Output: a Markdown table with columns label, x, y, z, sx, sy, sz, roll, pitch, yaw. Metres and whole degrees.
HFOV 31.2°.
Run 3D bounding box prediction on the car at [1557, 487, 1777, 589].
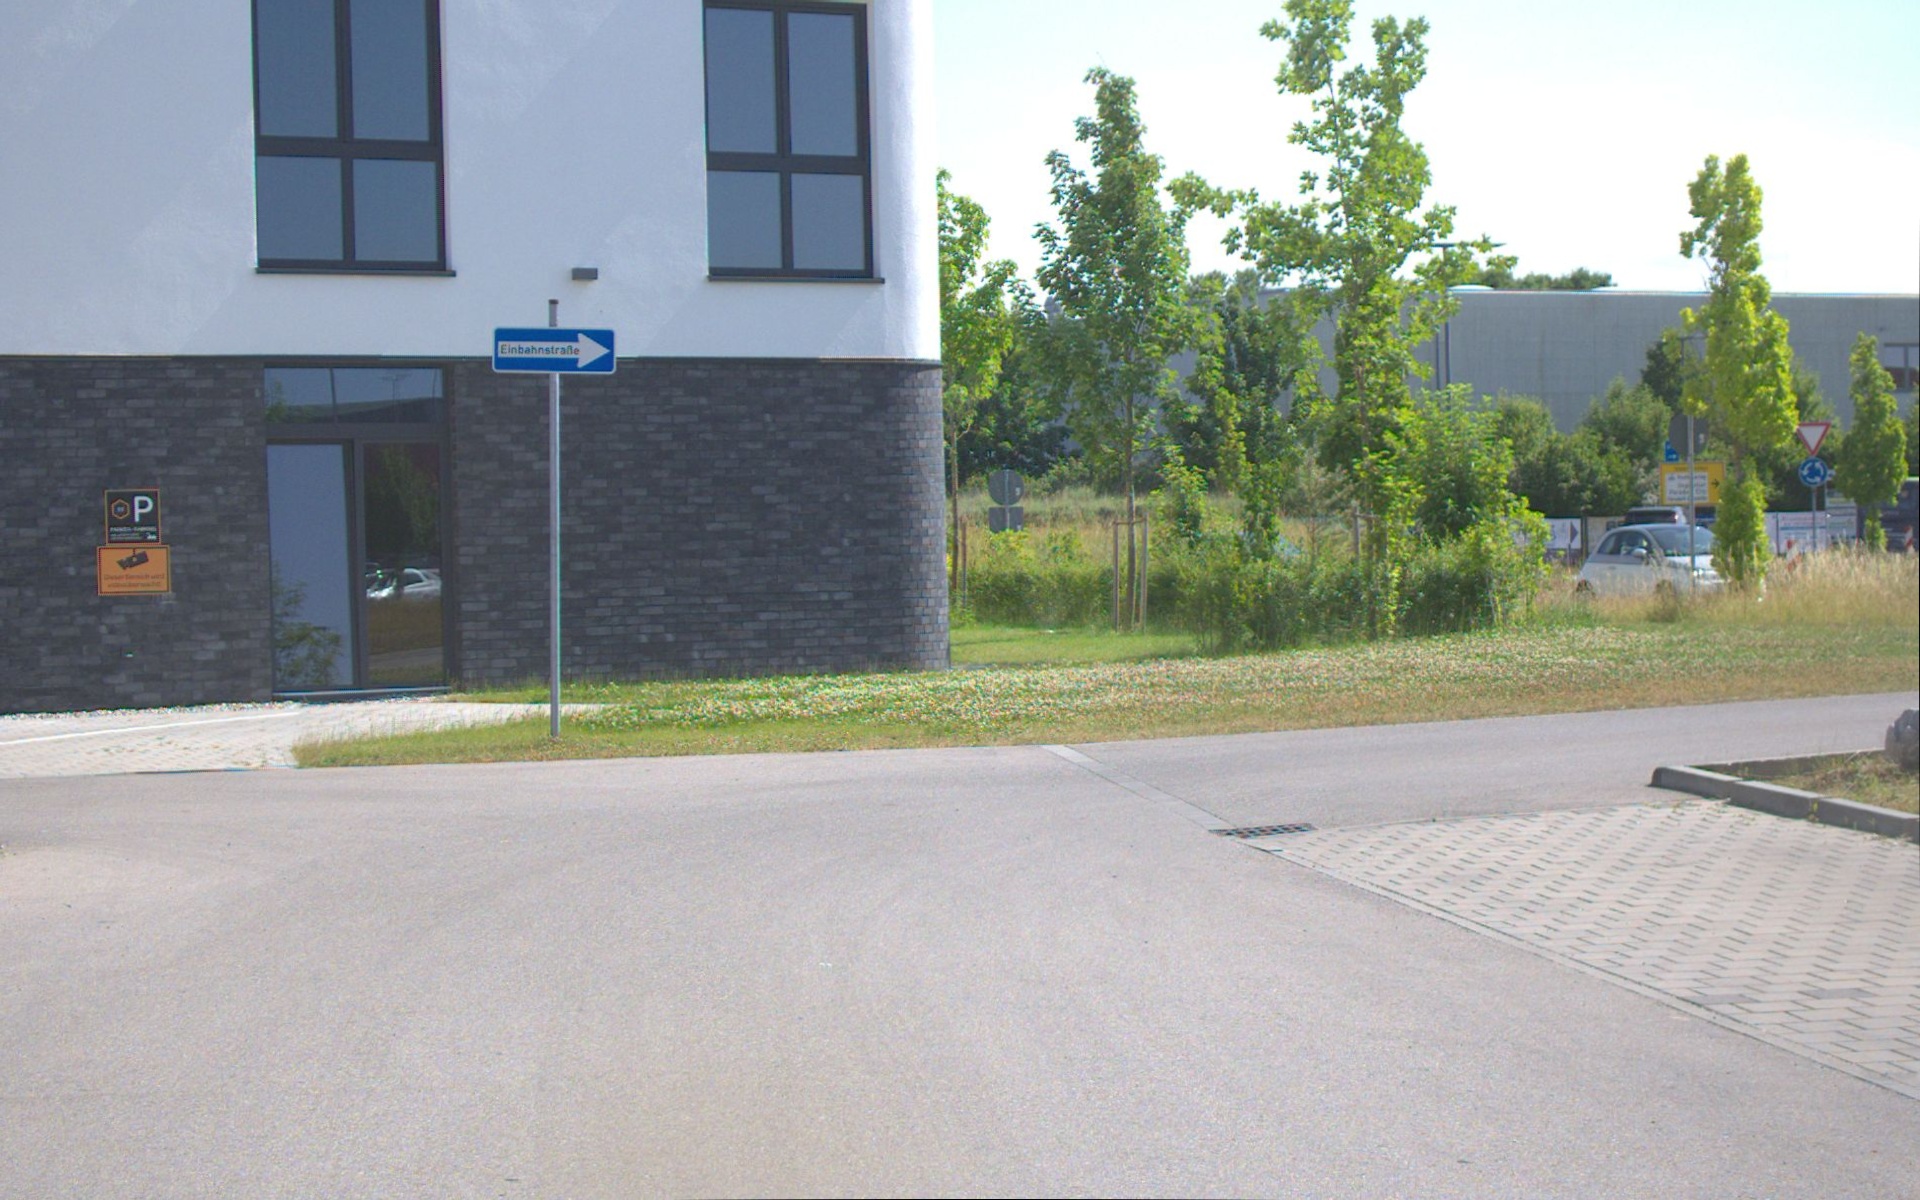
| label | x | y | z | sx | sy | sz | roll | pitch | yaw |
| --- | --- | --- | --- | --- | --- | --- | --- | --- | --- |
| car | 11.085 | -0.993 | 54.132 | 1.735 | 1.546 | 3.785 | -1 | 2 | -19 |

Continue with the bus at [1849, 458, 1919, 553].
| label | x | y | z | sx | sy | sz | roll | pitch | yaw |
| --- | --- | --- | --- | --- | --- | --- | --- | --- | --- |
| bus | 31.406 | -2.933 | 103.466 | 11.535 | 2.725 | 2.579 | -3 | 2 | -39 |
